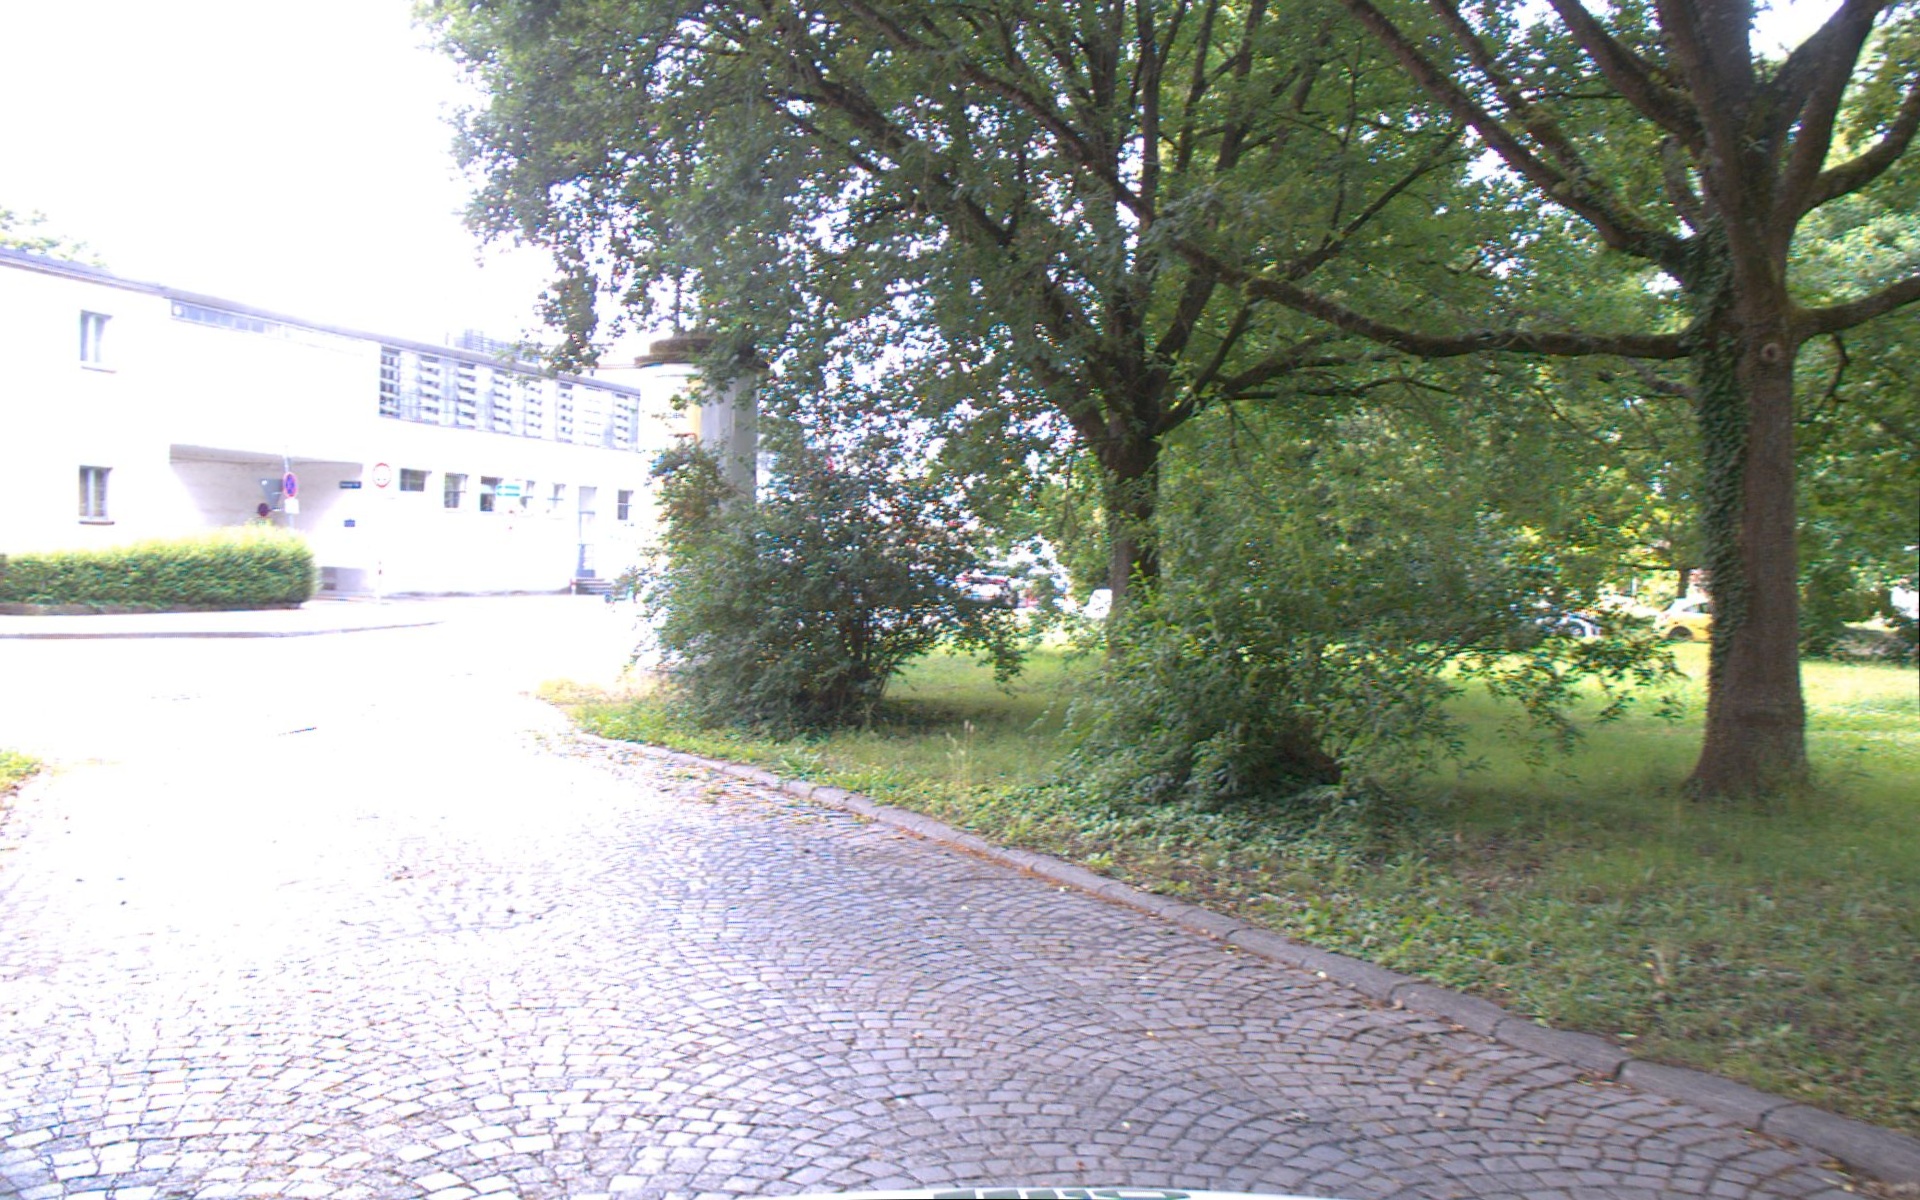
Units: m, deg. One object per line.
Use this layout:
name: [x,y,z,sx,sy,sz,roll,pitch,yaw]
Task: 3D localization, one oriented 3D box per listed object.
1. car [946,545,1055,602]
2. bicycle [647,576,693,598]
car: [1.367,-0.874,53.737,1.942,1.713,4.573,3,2,23]
bicycle: [-10.952,-0.486,62.490,1.638,0.770,0.569,2,1,-8]
